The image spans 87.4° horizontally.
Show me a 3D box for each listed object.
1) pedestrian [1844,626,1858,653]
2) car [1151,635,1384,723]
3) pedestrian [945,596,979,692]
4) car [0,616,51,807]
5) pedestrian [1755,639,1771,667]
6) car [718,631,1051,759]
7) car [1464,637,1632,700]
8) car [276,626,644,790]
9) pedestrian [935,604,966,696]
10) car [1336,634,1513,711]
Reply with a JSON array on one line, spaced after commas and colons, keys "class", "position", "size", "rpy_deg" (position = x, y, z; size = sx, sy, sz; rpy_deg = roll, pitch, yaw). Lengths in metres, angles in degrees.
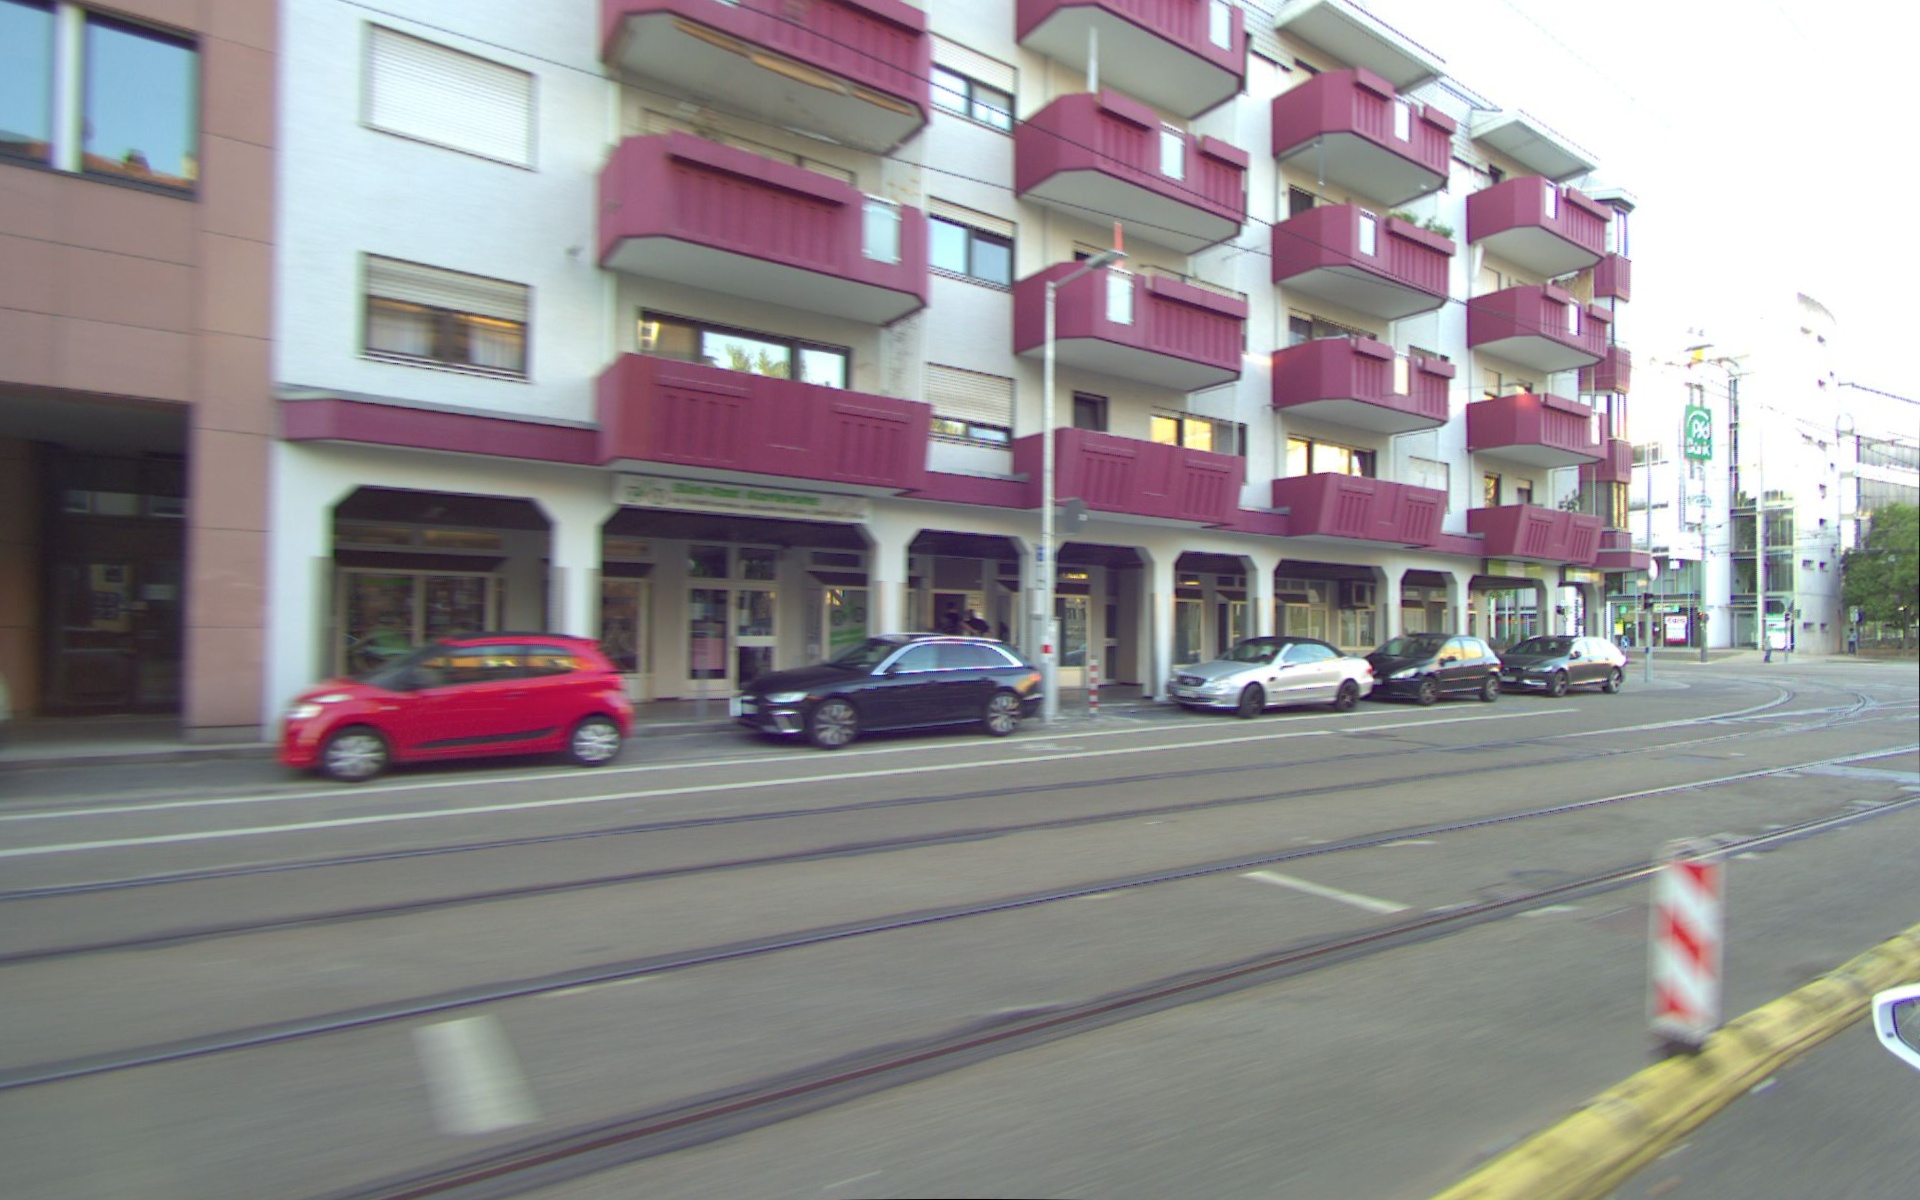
[{"class": "pedestrian", "position": [64.447, 2.846, 72.665], "size": [0.543, 1.947, 0.656], "rpy_deg": [1, -3, -39]}, {"class": "car", "position": [5.958, 1.442, 19.247], "size": [4.627, 1.432, 1.681], "rpy_deg": [2, 0, -33]}, {"class": "pedestrian", "position": [0.040, 0.946, 21.719], "size": [0.523, 2.040, 0.519], "rpy_deg": [1, -2, -40]}, {"class": "car", "position": [-10.213, 0.901, 8.007], "size": [4.161, 1.576, 1.706], "rpy_deg": [2, -1, -35]}, {"class": "pedestrian", "position": [50.792, 3.333, 63.541], "size": [0.649, 1.733, 0.546], "rpy_deg": [1, -2, -18]}, {"class": "car", "position": [-1.003, 1.257, 14.550], "size": [4.441, 1.499, 1.979], "rpy_deg": [2, 0, -37]}, {"class": "car", "position": [15.274, 1.707, 26.007], "size": [5.034, 1.476, 1.840], "rpy_deg": [2, -2, -35]}, {"class": "car", "position": [-5.500, 1.089, 11.200], "size": [3.443, 1.499, 1.601], "rpy_deg": [2, 0, -34]}, {"class": "pedestrian", "position": [-0.194, 1.038, 20.956], "size": [0.519, 1.897, 0.614], "rpy_deg": [1, -2, -14]}, {"class": "car", "position": [10.520, 1.580, 22.671], "size": [4.157, 1.528, 1.777], "rpy_deg": [2, -1, -35]}]
